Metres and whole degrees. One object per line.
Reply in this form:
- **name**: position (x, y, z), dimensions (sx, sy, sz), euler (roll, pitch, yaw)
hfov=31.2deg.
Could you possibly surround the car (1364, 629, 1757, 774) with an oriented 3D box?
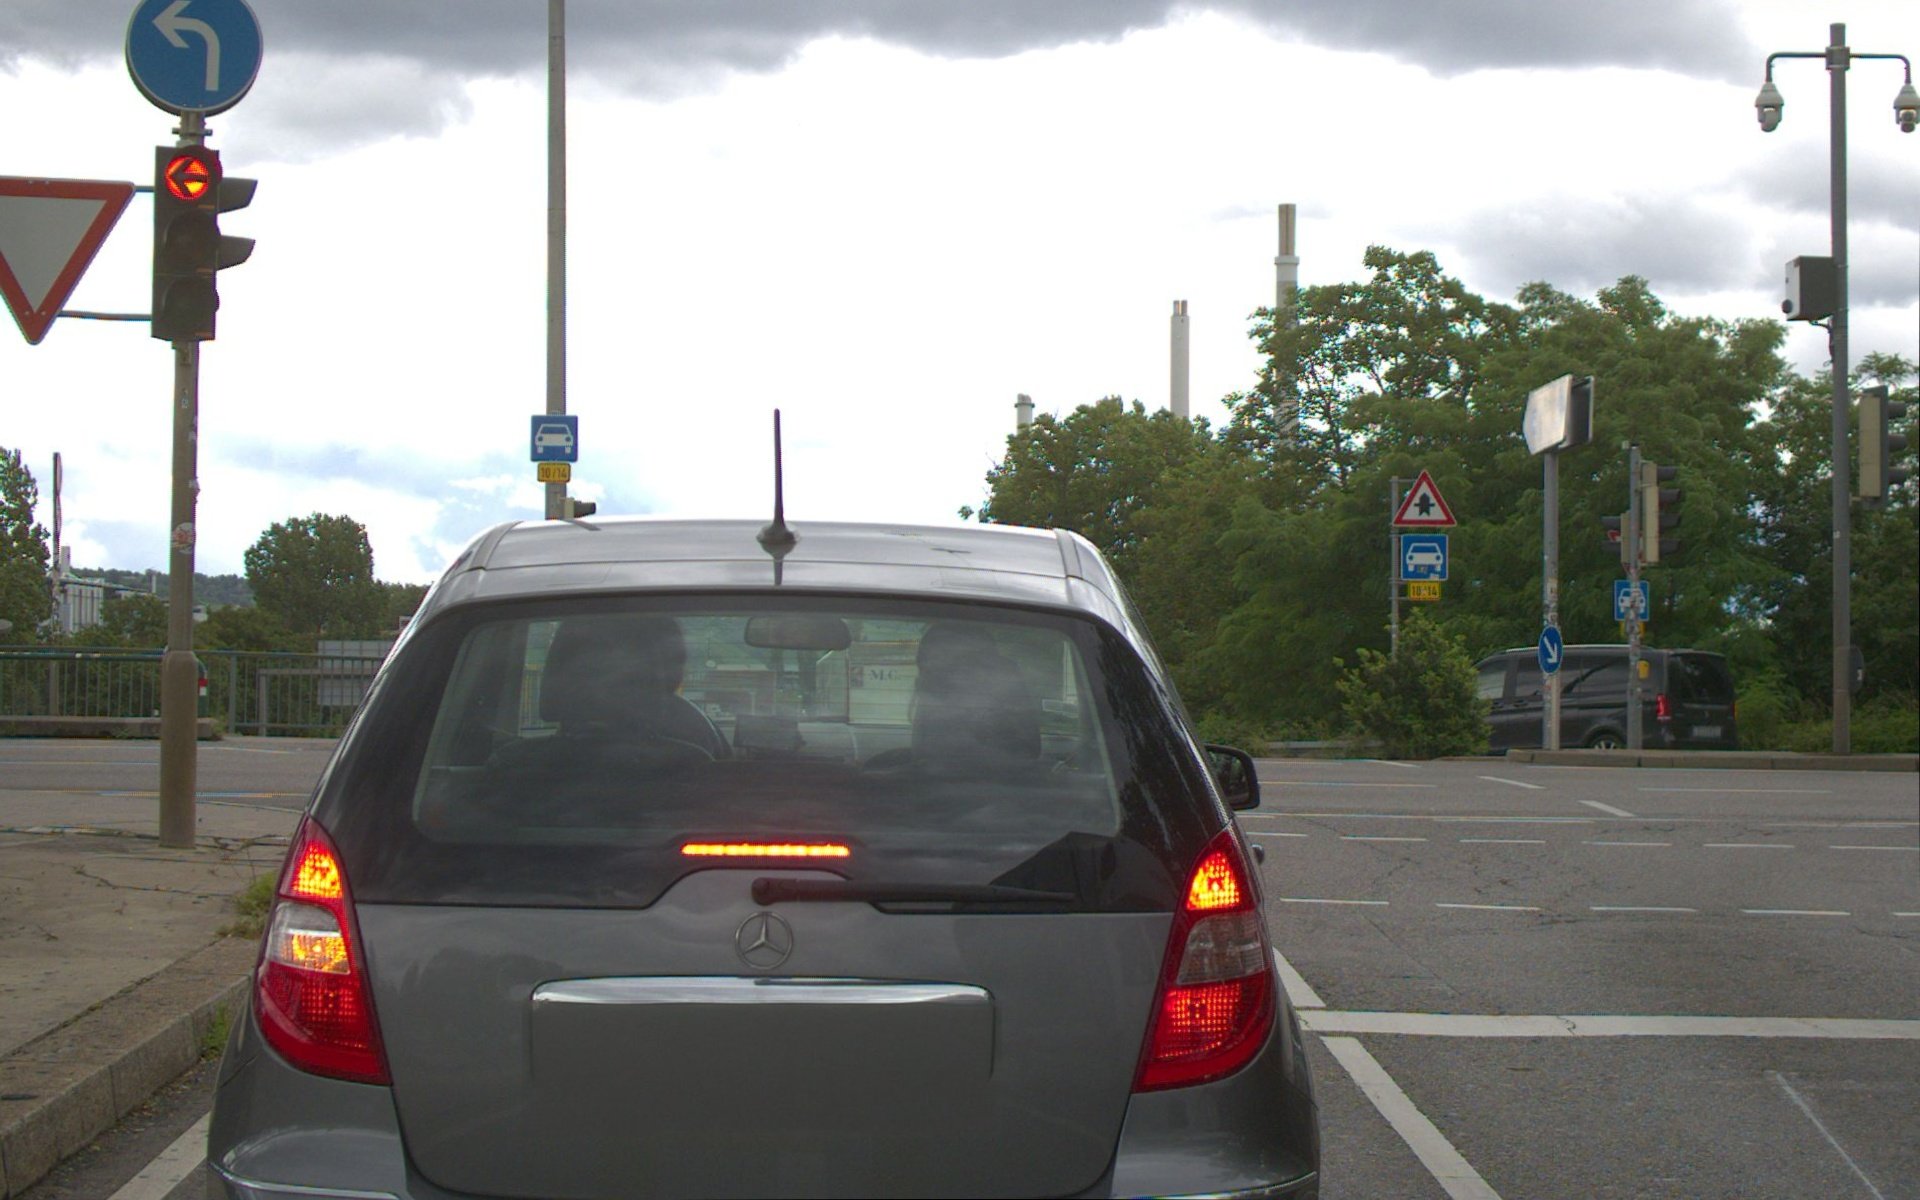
- **car**: position (8.398, 1.378, 48.460), dimensions (5.236, 1.765, 2.000), euler (1, 2, 44)

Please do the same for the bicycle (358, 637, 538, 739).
- **bicycle**: position (-5.970, 1.016, 40.050), dimensions (2.032, 1.121, 0.929), euler (0, 1, -11)

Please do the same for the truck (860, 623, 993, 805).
- **truck**: position (-0.817, 2.430, 77.305), dimensions (2.789, 3.506, 10.249), euler (0, 1, -1)

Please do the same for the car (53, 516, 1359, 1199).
- **car**: position (-0.311, 0.634, 6.895), dimensions (1.858, 1.583, 4.000), euler (0, 2, 2)

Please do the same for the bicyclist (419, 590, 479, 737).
- **bicyclist**: position (-5.958, 0.731, 40.059), dimensions (0.653, 1.668, 0.870), euler (0, 1, -11)
